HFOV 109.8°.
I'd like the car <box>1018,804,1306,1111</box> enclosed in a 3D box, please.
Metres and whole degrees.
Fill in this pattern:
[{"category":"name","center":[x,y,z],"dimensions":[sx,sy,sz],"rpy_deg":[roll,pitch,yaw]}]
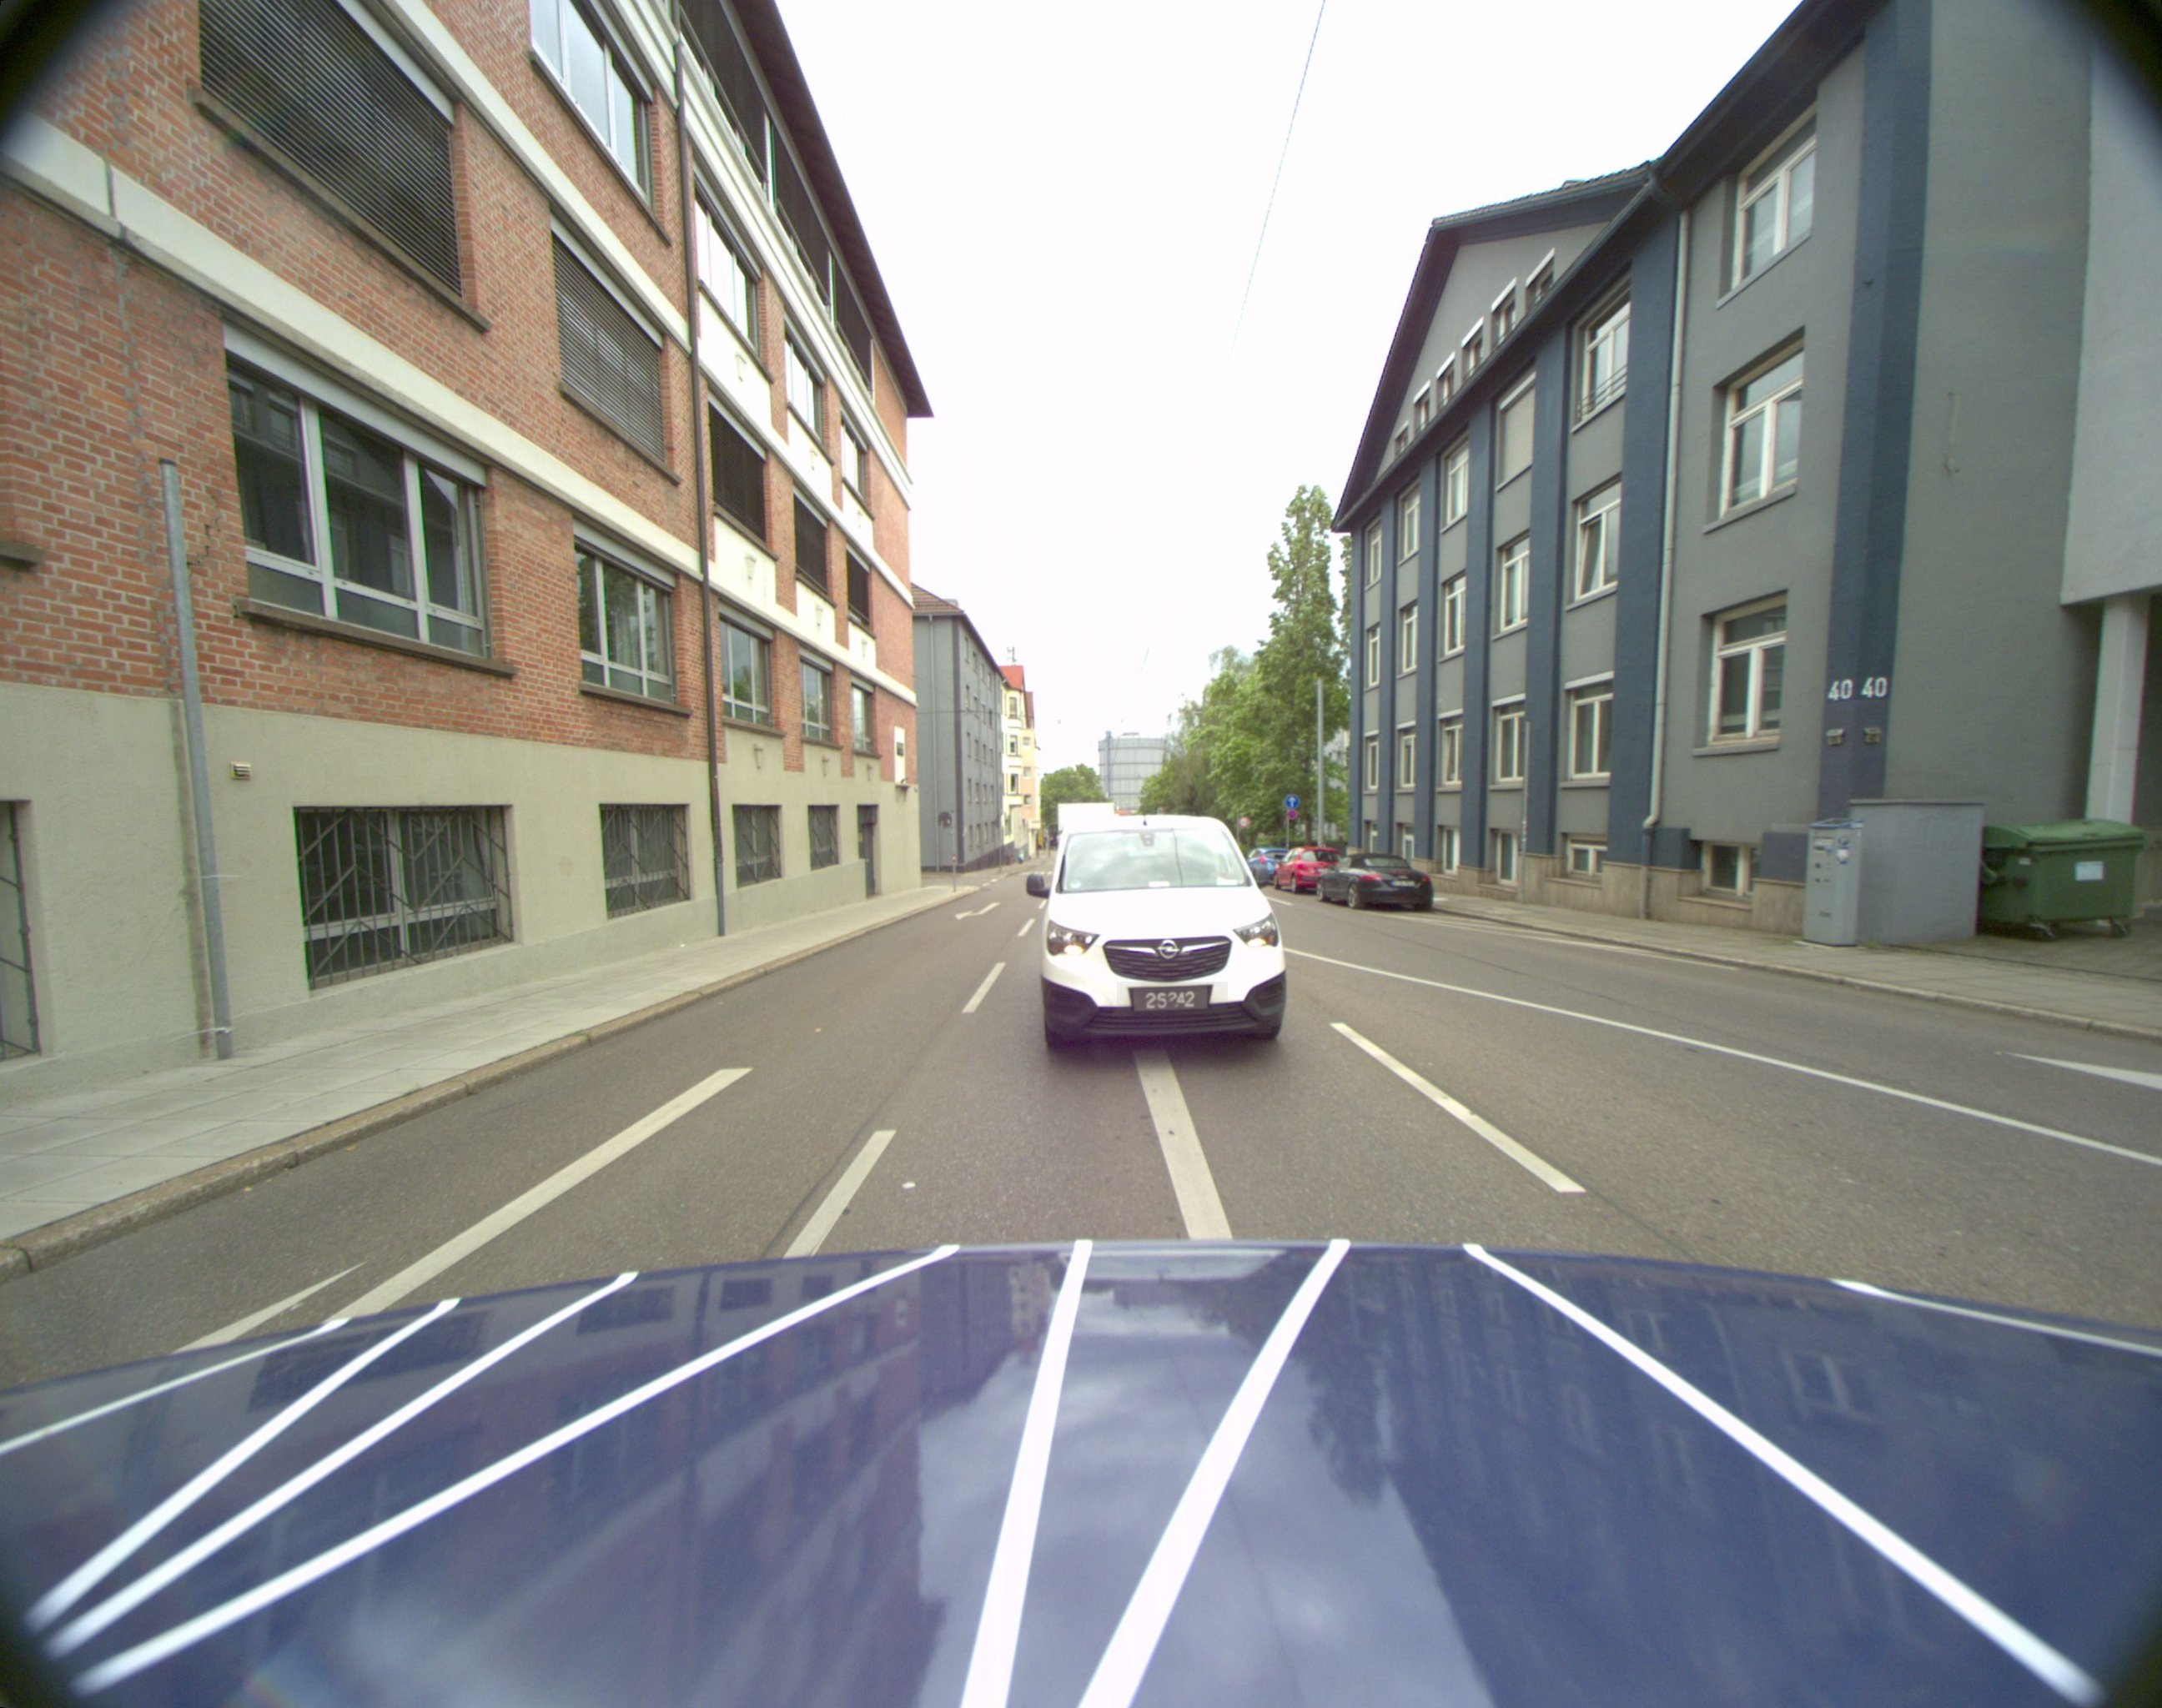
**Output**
[{"category":"car","center":[0.540,0.610,6.779],"dimensions":[1.739,1.876,3.999],"rpy_deg":[-2,2,1]}]

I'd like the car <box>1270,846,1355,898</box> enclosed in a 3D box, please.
[{"category":"car","center":[7.406,0.512,24.674],"dimensions":[1.644,1.441,3.728],"rpy_deg":[-2,2,1]}]

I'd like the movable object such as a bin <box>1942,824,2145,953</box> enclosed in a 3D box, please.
[{"category":"movable object such as a bin","center":[12.054,0.400,9.574],"dimensions":[1.229,1.498,1.039],"rpy_deg":[-2,2,1]}]

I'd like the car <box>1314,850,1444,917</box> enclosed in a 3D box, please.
[{"category":"car","center":[7.225,0.652,18.818],"dimensions":[1.801,1.385,3.728],"rpy_deg":[-1,2,1]}]

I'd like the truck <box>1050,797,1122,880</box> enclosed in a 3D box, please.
[{"category":"truck","center":[0.278,-0.778,36.895],"dimensions":[2.969,3.409,8.877],"rpy_deg":[-2,2,1]}]

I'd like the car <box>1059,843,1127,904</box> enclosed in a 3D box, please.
[{"category":"car","center":[0.346,0.497,22.212],"dimensions":[1.739,1.520,3.999],"rpy_deg":[-2,2,1]}]

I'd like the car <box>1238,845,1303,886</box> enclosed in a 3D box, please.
[{"category":"car","center":[7.493,0.410,30.332],"dimensions":[1.644,1.441,3.728],"rpy_deg":[-2,2,1]}]

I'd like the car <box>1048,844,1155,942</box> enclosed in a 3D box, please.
[{"category":"car","center":[0.371,0.633,14.739],"dimensions":[1.739,1.520,3.999],"rpy_deg":[-2,2,1]}]
